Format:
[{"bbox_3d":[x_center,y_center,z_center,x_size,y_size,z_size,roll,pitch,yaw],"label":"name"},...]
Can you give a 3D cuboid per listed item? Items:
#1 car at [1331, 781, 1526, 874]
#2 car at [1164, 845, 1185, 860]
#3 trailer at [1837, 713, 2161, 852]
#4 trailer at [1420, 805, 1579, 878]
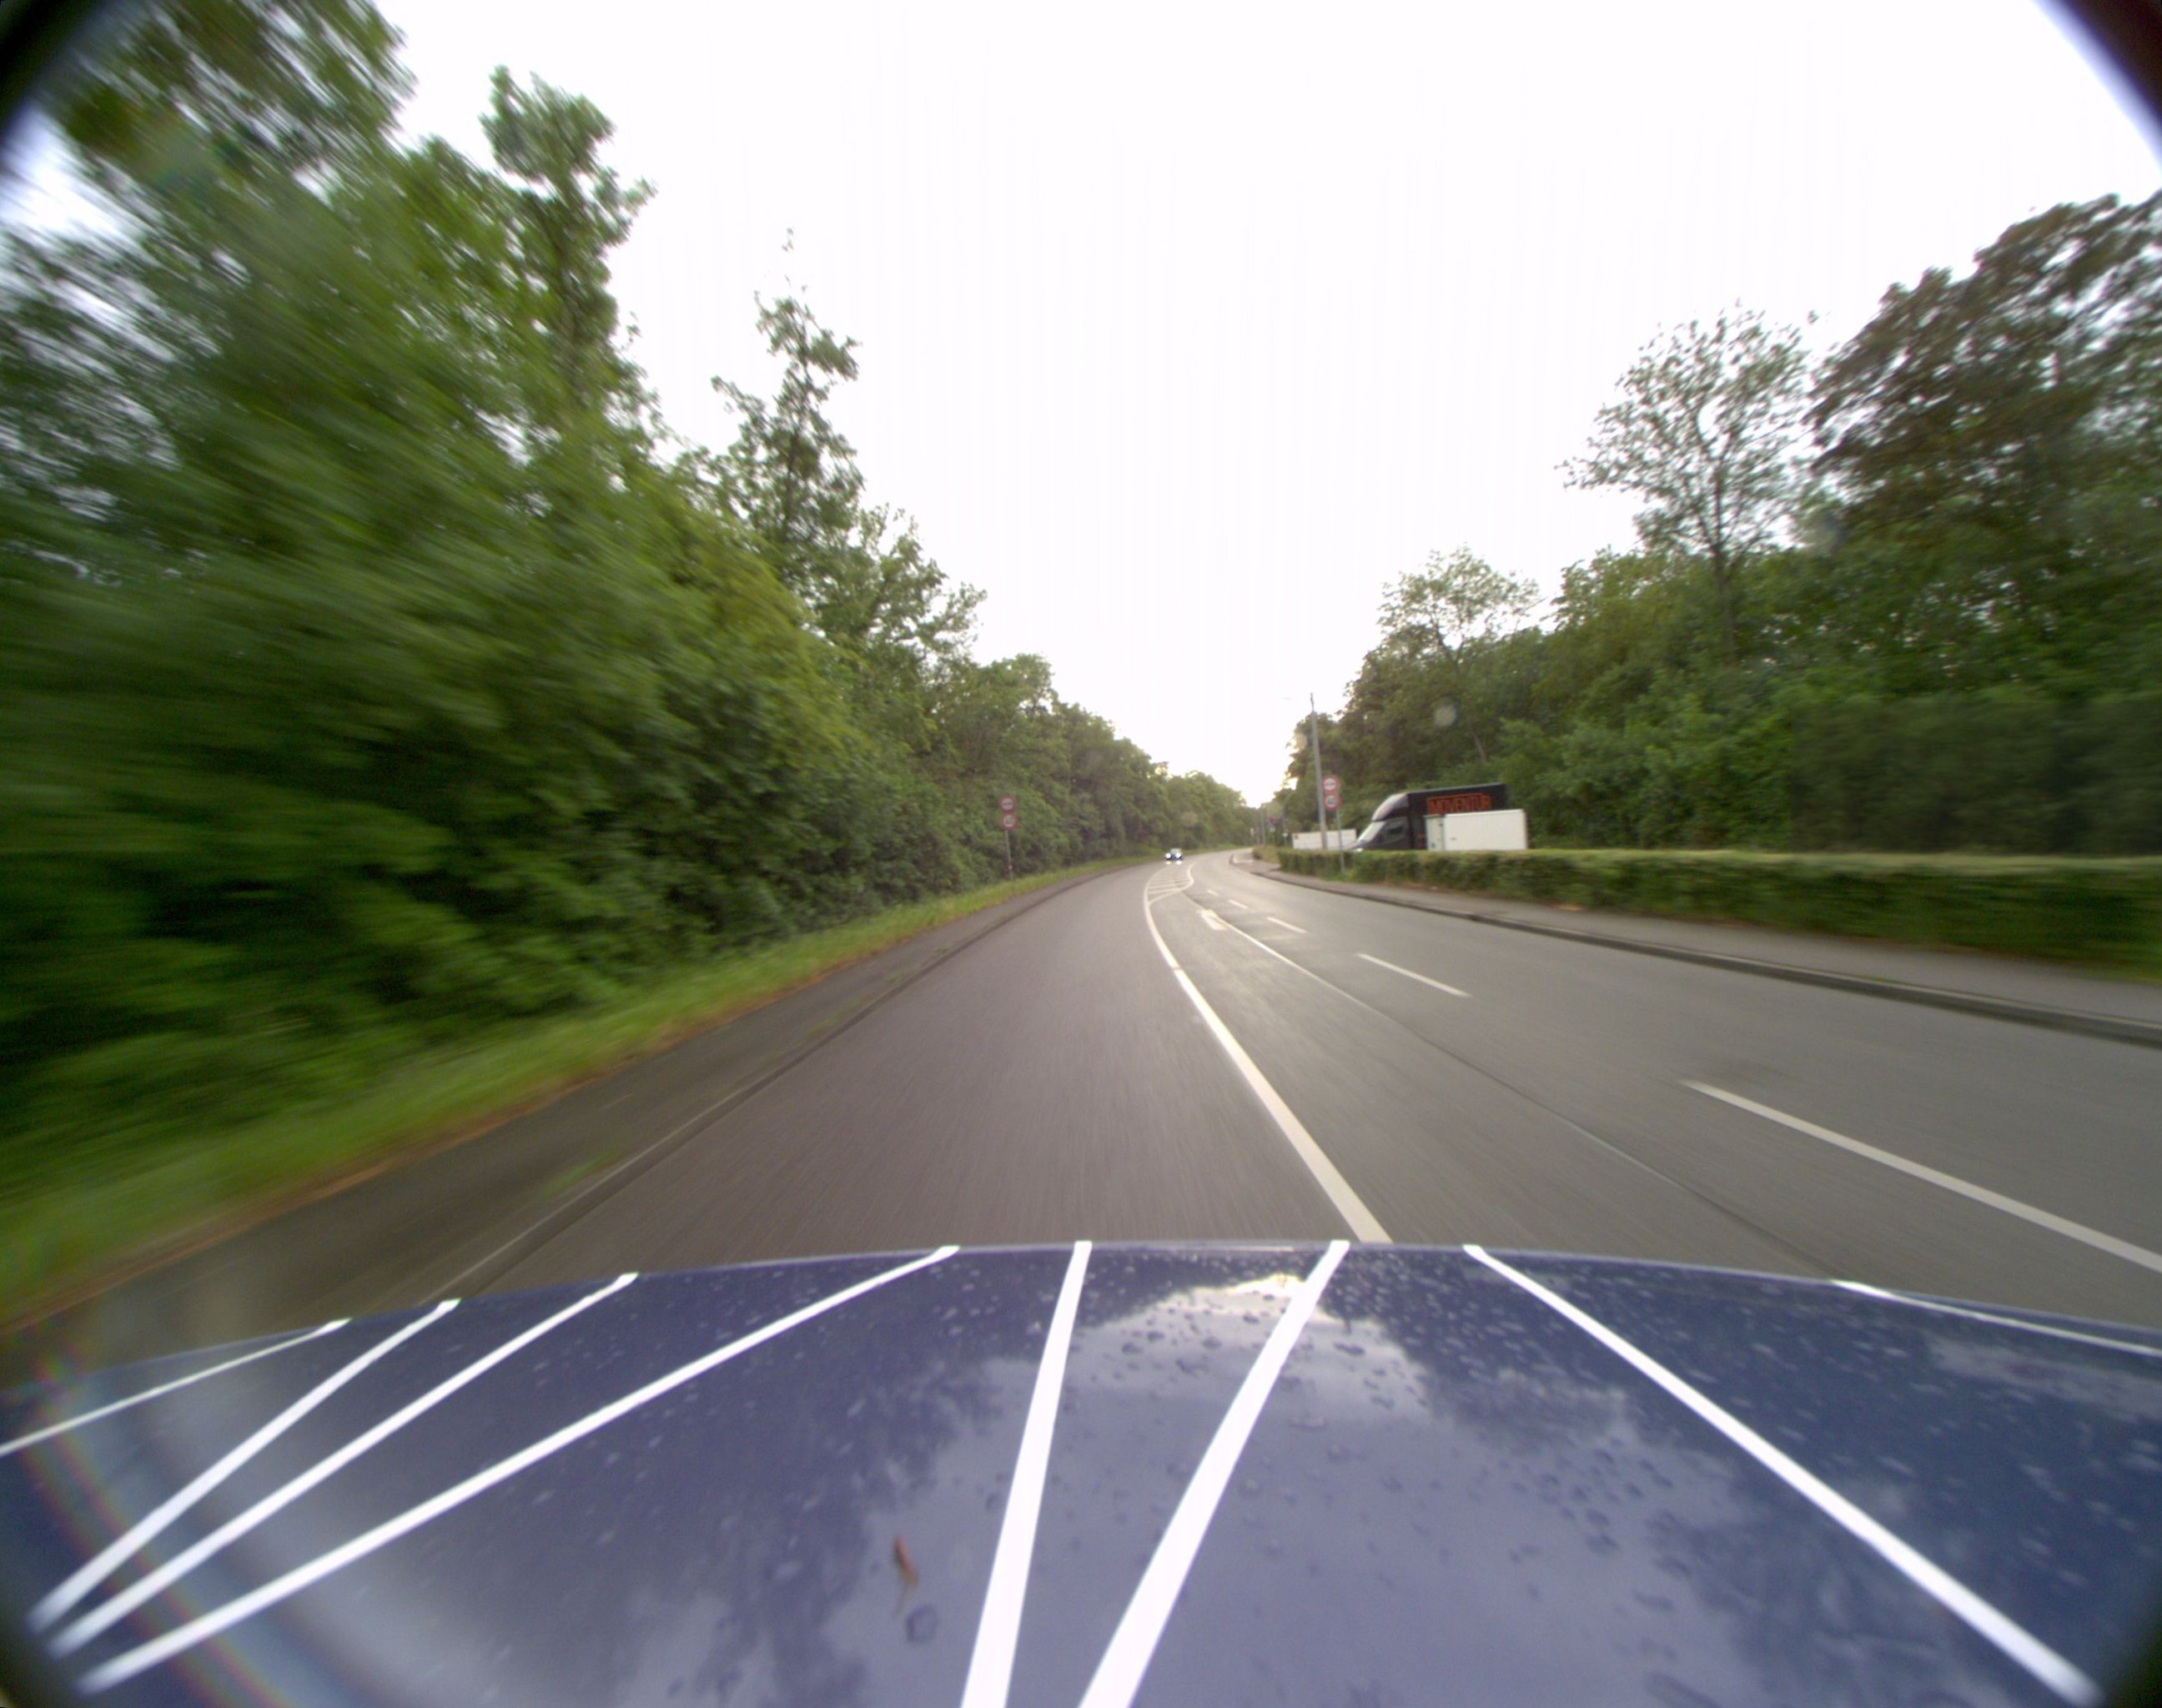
[{"bbox_3d":[13.524,-1.036,29.944,6.287,3.096,2.751,-4,2,1],"label":"car"},{"bbox_3d":[11.315,-0.168,91.363,1.996,1.674,4.003,-3,1,14],"label":"car"},{"bbox_3d":[23.492,-1.563,18.398,2.482,2.857,7.976,-3,1,1],"label":"trailer"},{"bbox_3d":[13.395,-0.388,24.511,3.996,2.041,1.873,-3,1,4],"label":"trailer"}]
